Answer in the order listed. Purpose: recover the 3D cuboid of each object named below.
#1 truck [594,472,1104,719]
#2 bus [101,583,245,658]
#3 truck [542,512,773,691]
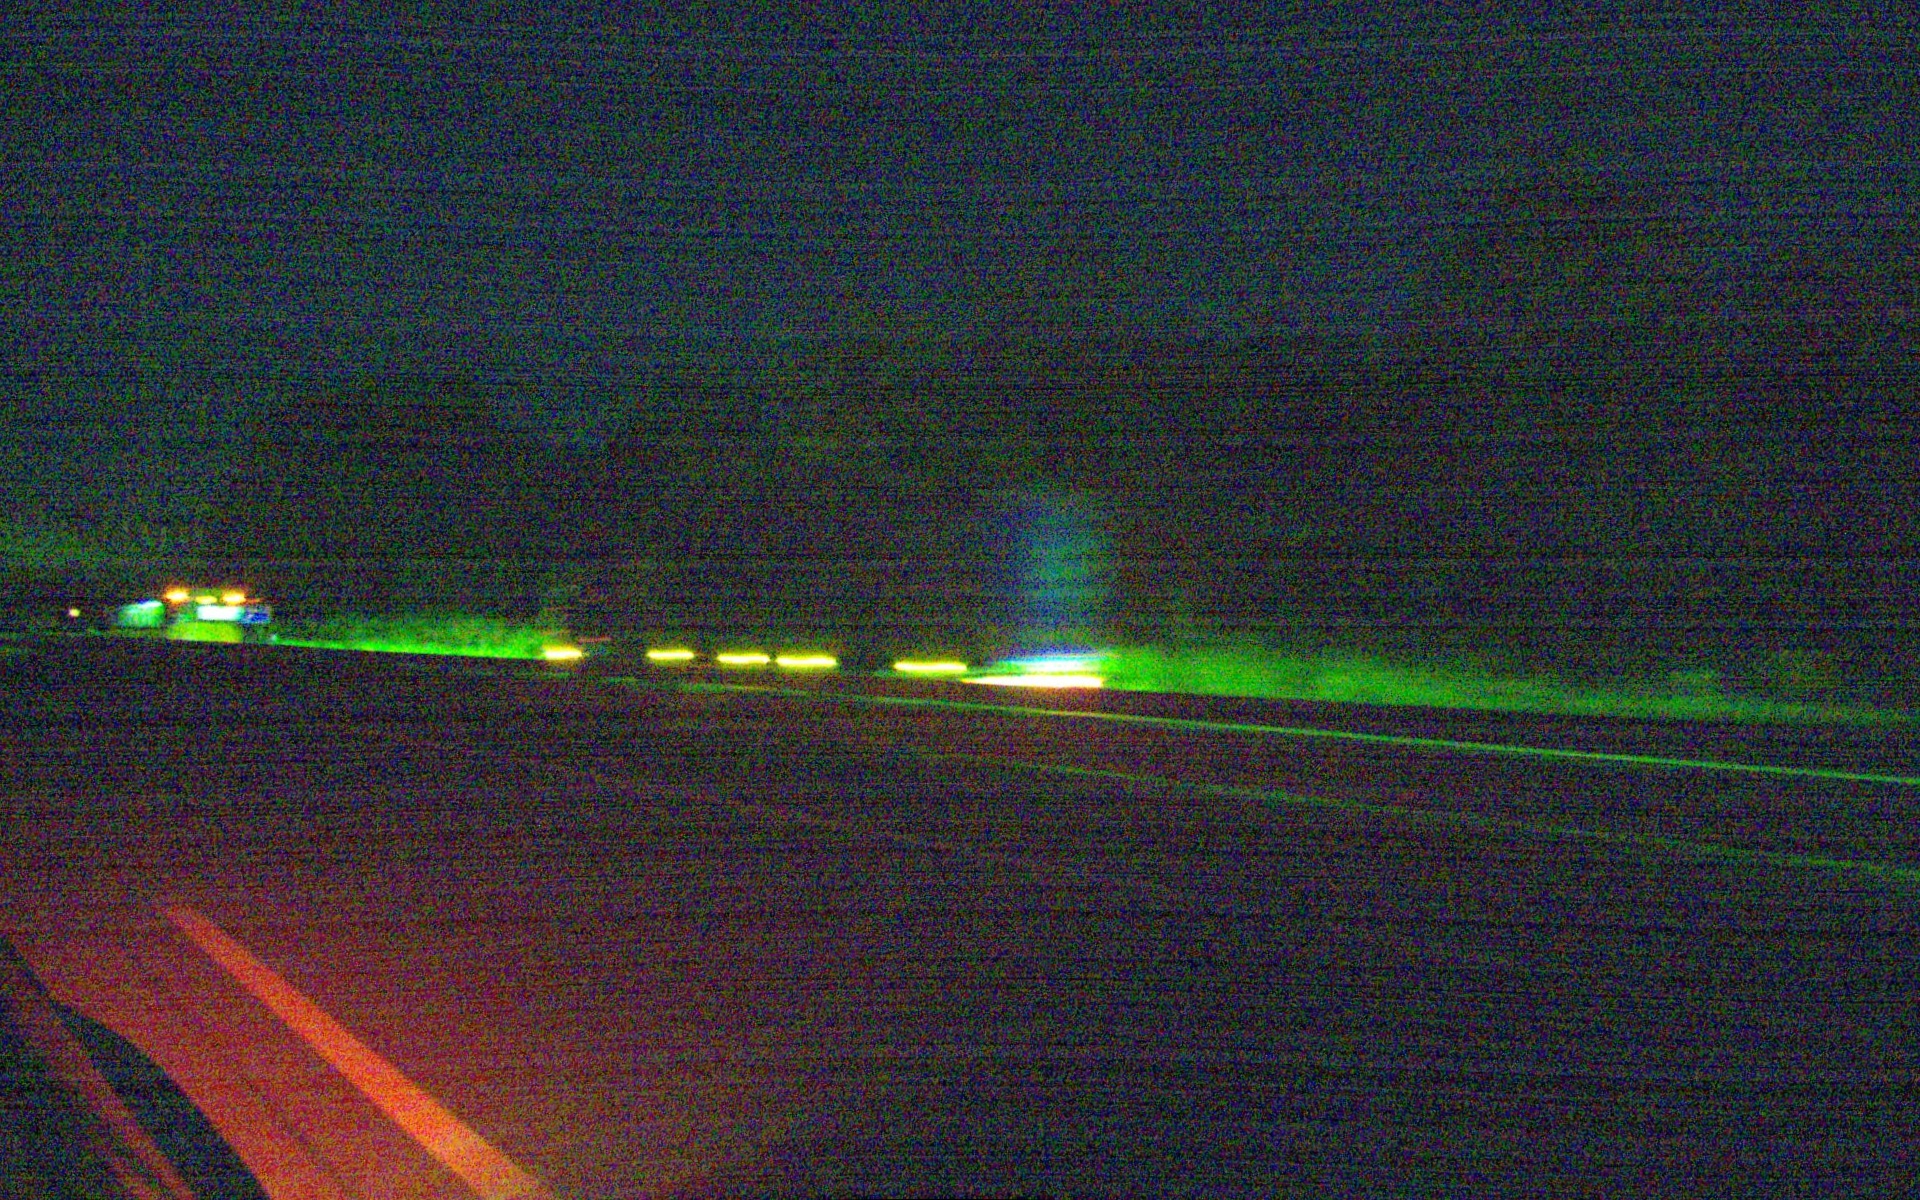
[{"bbox_3d":[-3.379,0.017,22.682,13.902,4.159,2.717,-1,-2,41],"label":"truck"},{"bbox_3d":[-36.832,0.940,47.088,12.508,3.134,2.757,-1,-1,40],"label":"bus"},{"bbox_3d":[-8.147,0.080,26.858,6.671,4.175,2.744,-1,-2,41],"label":"truck"}]
